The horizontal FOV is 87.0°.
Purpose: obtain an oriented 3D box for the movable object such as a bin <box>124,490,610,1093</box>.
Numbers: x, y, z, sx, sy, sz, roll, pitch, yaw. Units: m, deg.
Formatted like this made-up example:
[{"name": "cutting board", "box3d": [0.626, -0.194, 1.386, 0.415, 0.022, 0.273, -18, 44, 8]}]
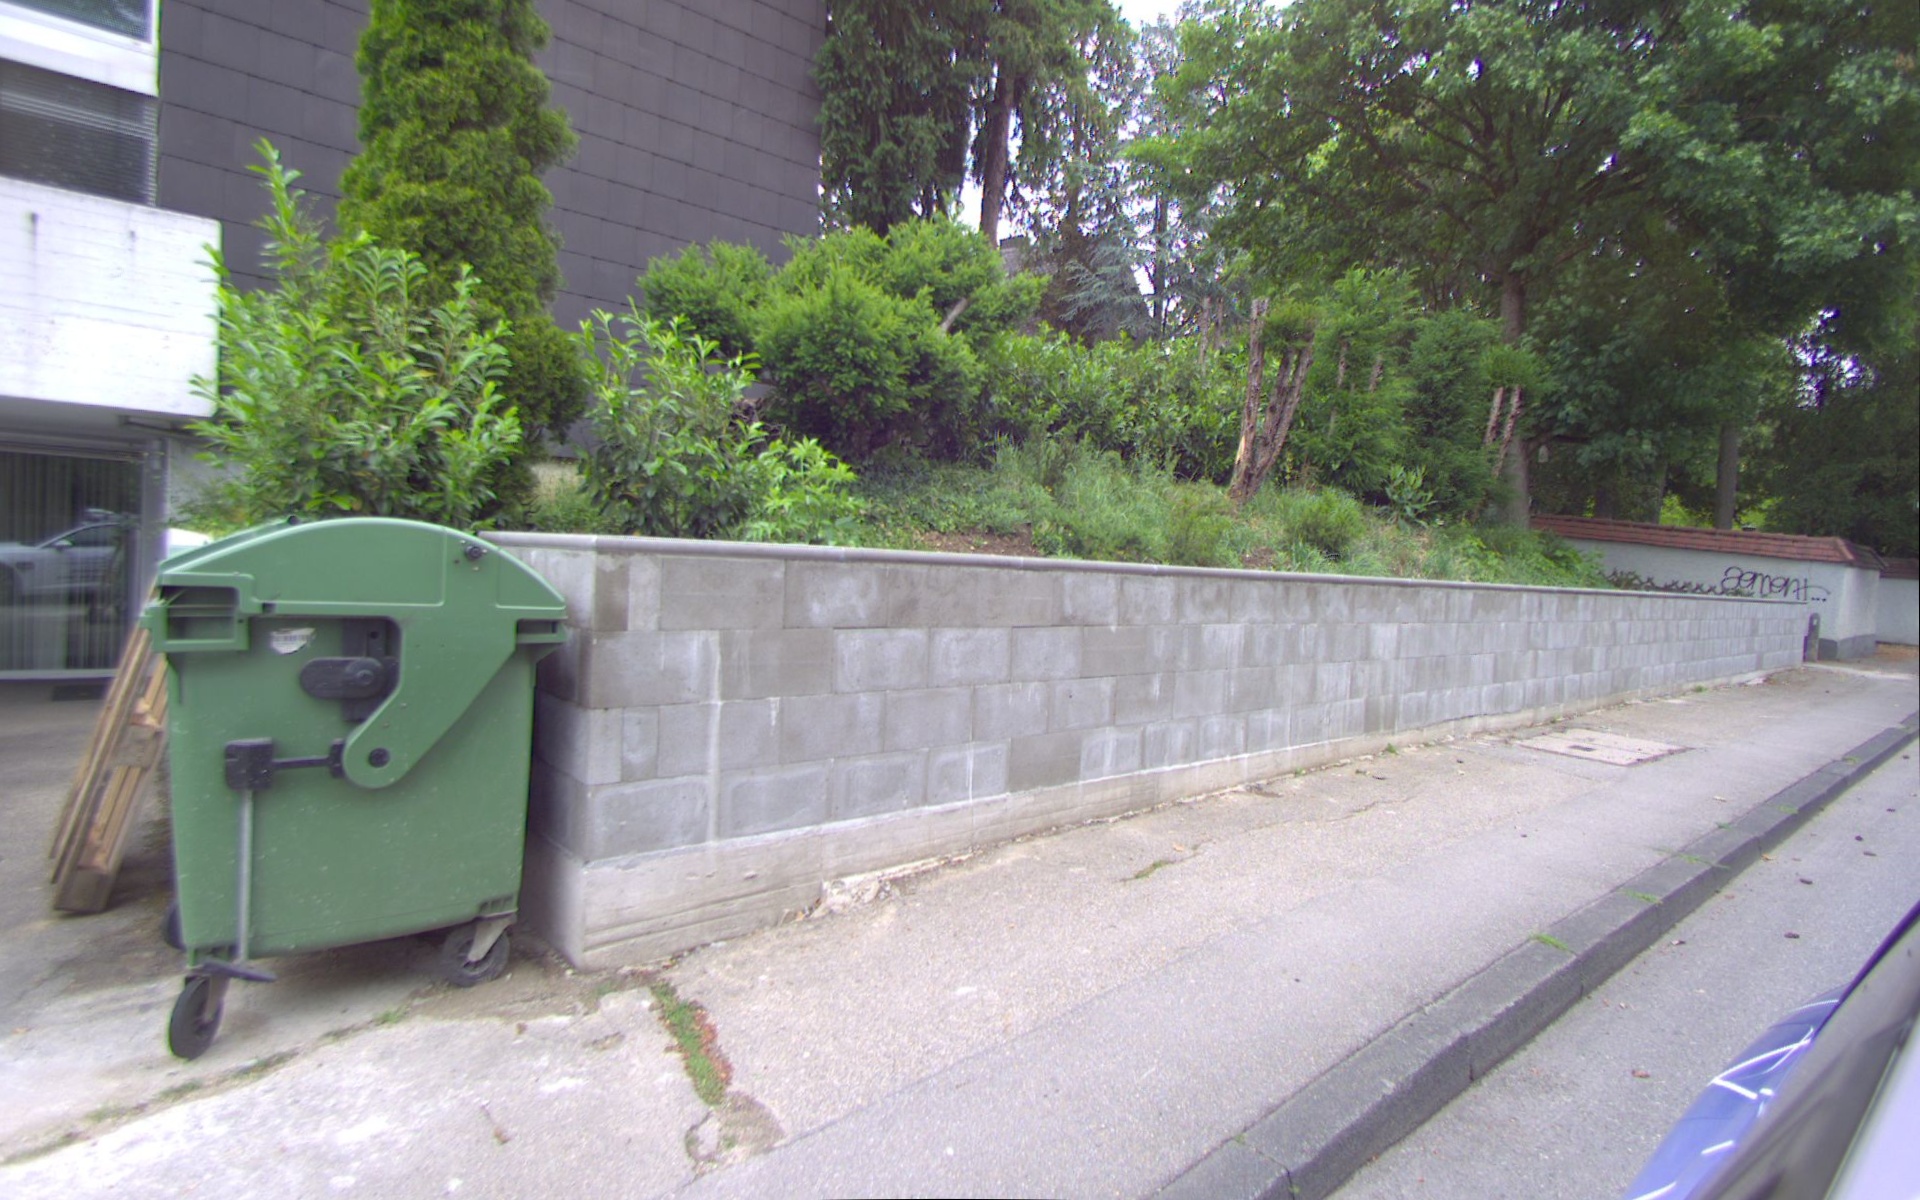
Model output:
[{"name": "movable object such as a bin", "box3d": [-1.979, 0.419, 3.314, 1.160, 1.468, 1.303, 0, 4, -40]}]
